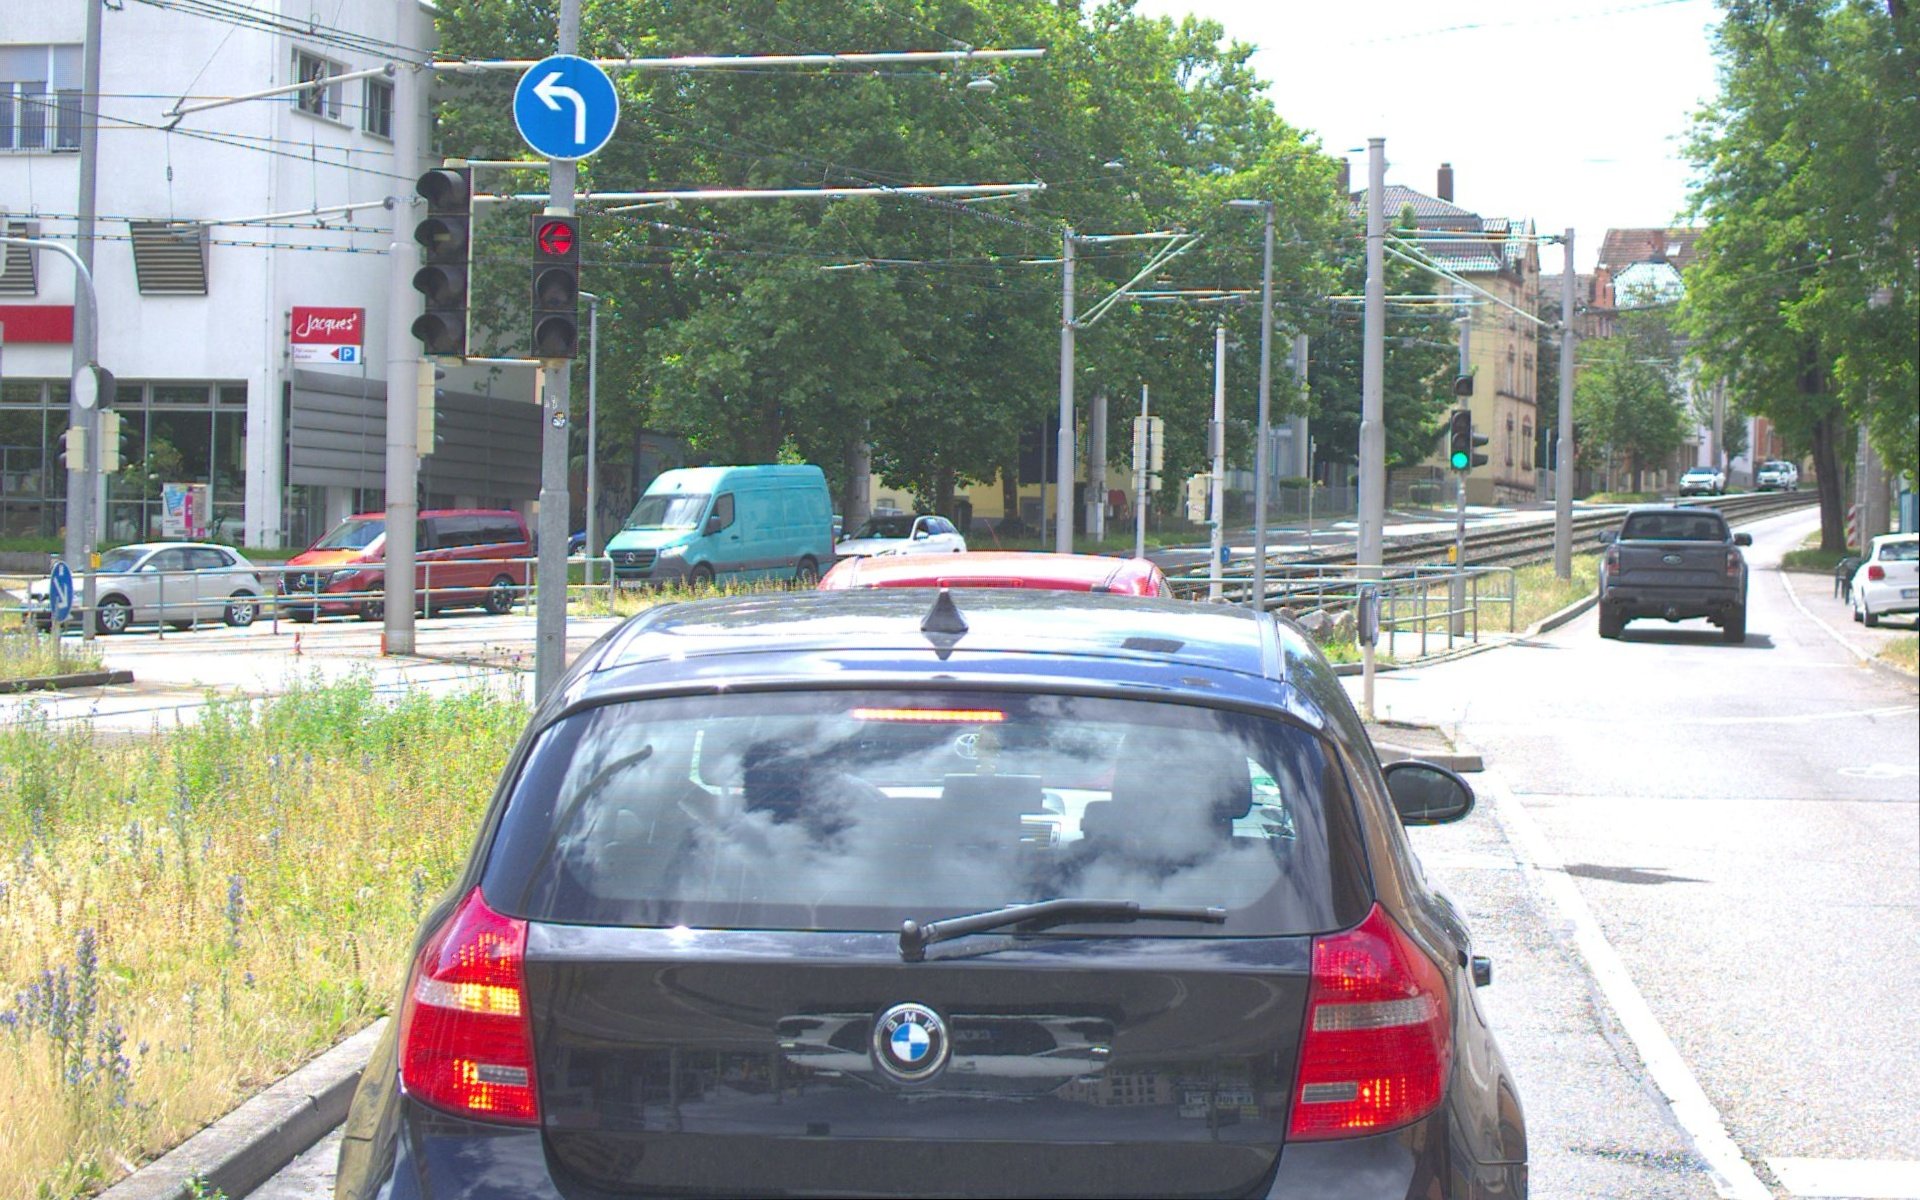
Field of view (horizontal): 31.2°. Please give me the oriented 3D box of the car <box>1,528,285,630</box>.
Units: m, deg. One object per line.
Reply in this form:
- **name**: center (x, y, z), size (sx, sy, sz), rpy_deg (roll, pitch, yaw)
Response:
- **car**: center (-13.188, -0.335, 55.638), size (1.857, 1.579, 4.160), rpy_deg (0, 0, 41)

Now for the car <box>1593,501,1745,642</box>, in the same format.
- **car**: center (10.125, -0.395, 48.979), size (2.000, 1.880, 5.147), rpy_deg (0, 0, 12)

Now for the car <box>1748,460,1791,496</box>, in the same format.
- **car**: center (48.764, -7.346, 207.027), size (1.996, 2.007, 3.996), rpy_deg (0, 0, 21)

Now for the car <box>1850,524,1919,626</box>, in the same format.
- **car**: center (15.474, -0.406, 55.932), size (1.788, 1.590, 3.998), rpy_deg (0, 0, 13)

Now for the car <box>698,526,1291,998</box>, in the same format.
- **car**: center (0.288, 0.500, 12.776), size (1.625, 1.468, 3.998), rpy_deg (0, 0, 9)

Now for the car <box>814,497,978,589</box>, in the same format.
- **car**: center (-1.336, -1.209, 74.383), size (1.855, 1.921, 4.792), rpy_deg (0, 0, 21)

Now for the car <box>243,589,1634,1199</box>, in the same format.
- **car**: center (-0.113, 0.711, 6.211), size (1.701, 1.447, 4.000), rpy_deg (0, 0, -3)

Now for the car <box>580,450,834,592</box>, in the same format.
- **car**: center (-4.914, -1.509, 67.757), size (2.134, 2.645, 5.681), rpy_deg (0, 0, 30)

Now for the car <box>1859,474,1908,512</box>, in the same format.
- **car**: center (43.058, -4.978, 160.303), size (1.995, 1.656, 3.996), rpy_deg (0, 0, 18)

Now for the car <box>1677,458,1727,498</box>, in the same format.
- **car**: center (40.528, -6.644, 187.731), size (1.996, 2.007, 3.996), rpy_deg (0, 0, 21)

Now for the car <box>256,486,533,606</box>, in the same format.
- **car**: center (-9.836, -0.922, 60.108), size (1.857, 2.002, 4.787), rpy_deg (0, 0, 38)
